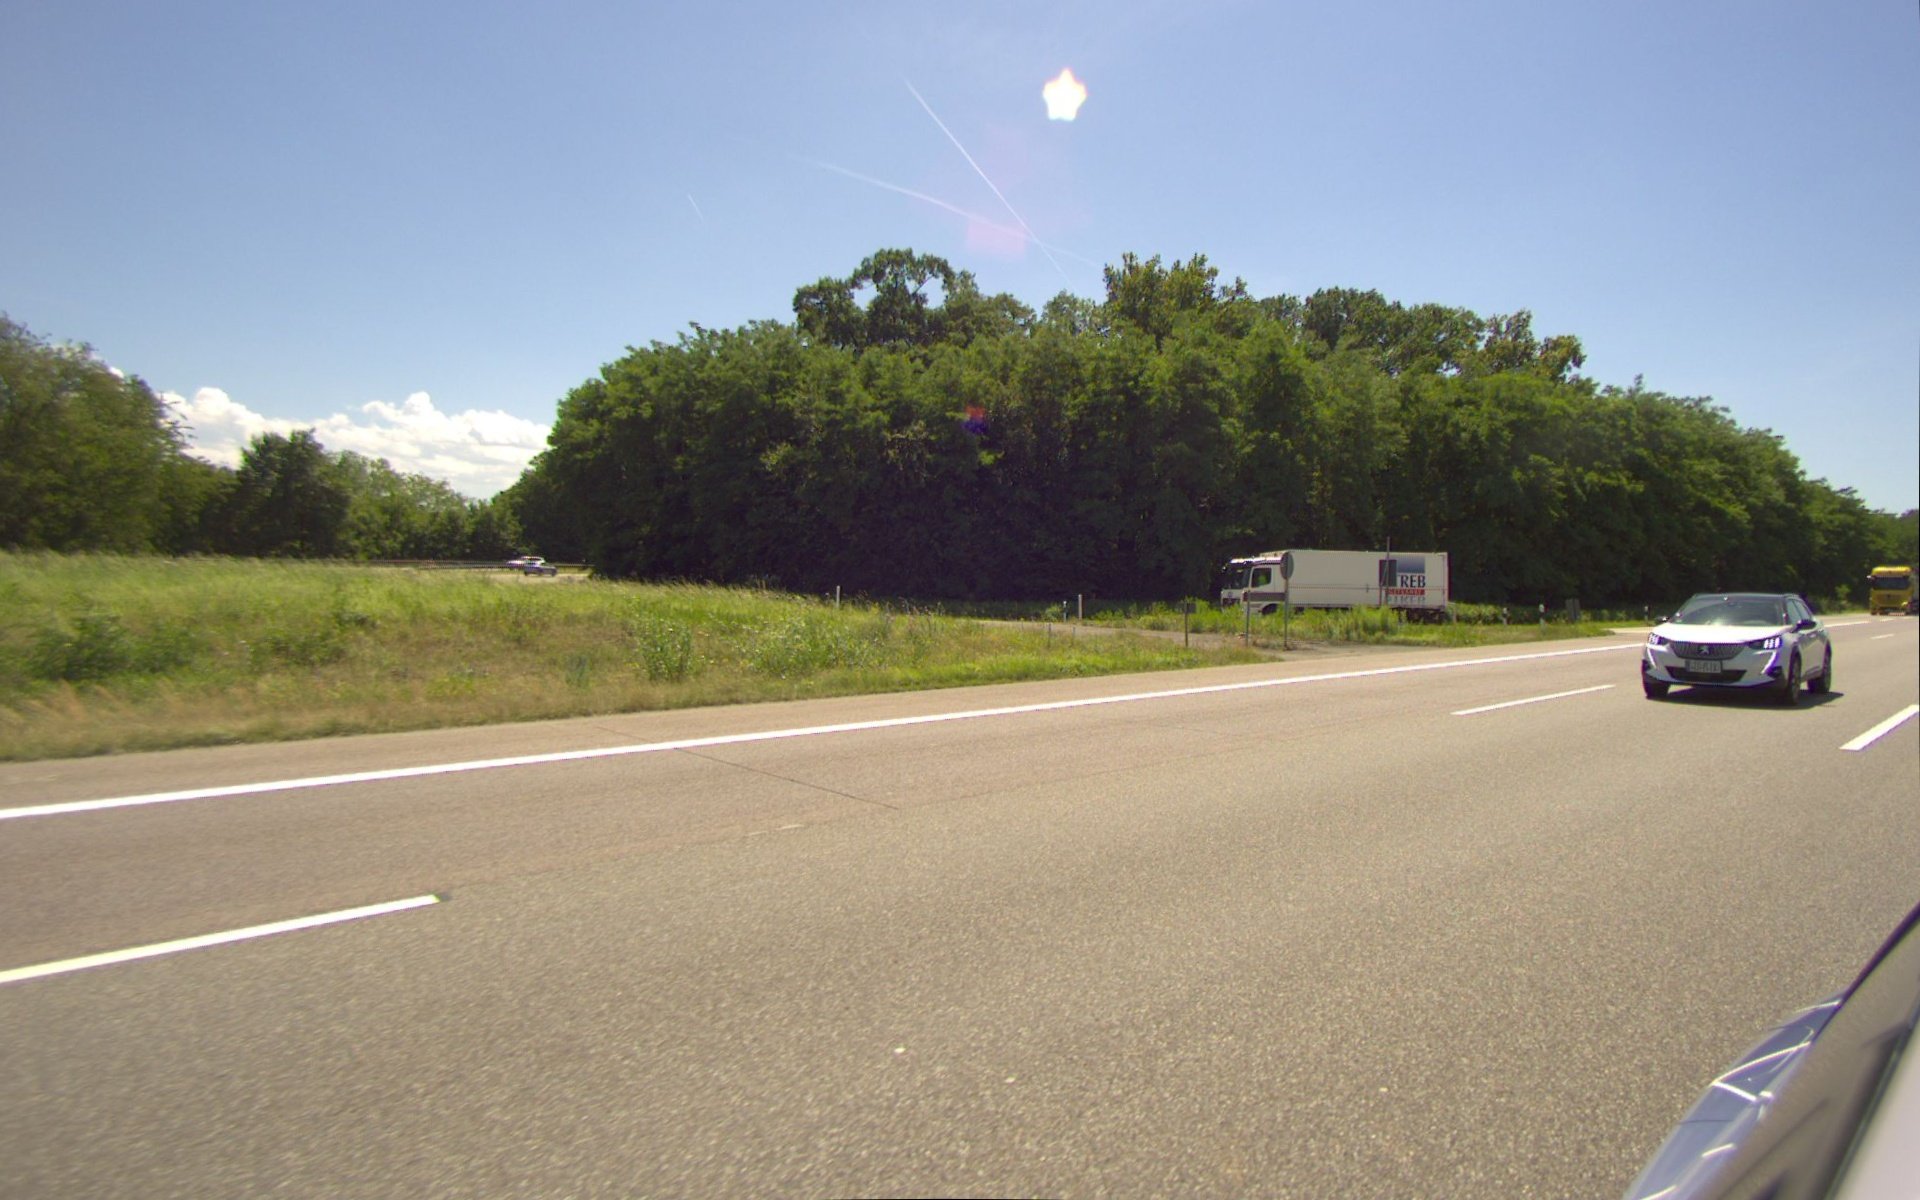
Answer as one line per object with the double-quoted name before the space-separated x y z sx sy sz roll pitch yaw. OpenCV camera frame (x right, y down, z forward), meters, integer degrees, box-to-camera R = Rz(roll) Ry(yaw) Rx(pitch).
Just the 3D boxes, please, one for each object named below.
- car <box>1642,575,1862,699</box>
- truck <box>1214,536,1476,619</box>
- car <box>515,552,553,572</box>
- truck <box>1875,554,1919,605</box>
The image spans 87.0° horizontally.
"car" 12.242 0.457 15.525 4.725 1.628 1.830 -1 1 -41
"truck" 16.525 -0.966 43.577 10.546 3.361 3.044 0 0 -11
"car" -43.995 -3.914 104.614 1.965 1.905 3.993 0 0 6
"truck" 80.273 -1.672 85.406 10.787 4.088 2.980 -1 -1 -40
